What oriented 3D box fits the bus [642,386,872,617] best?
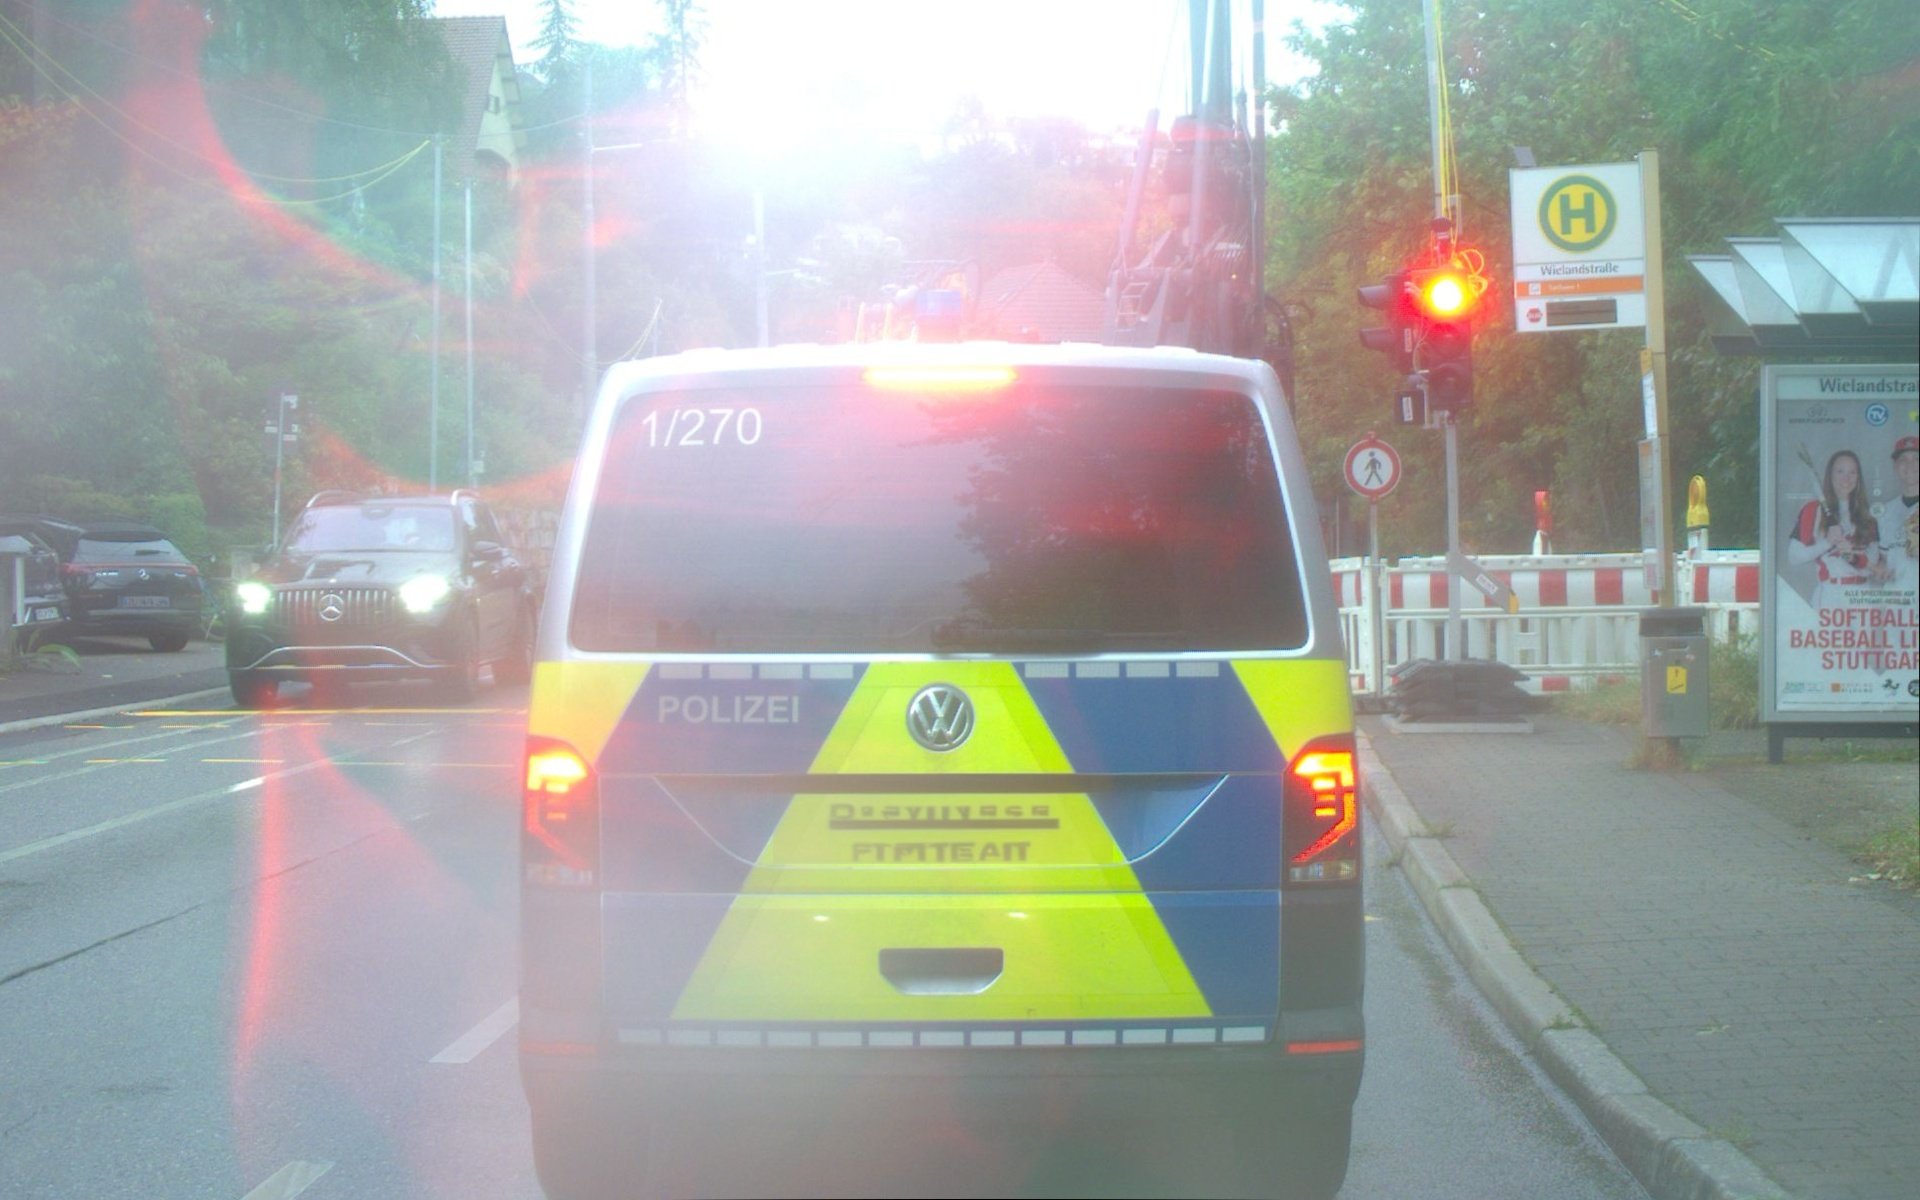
[{"bbox_3d":[-3.446,-1.729,61.678,2.841,3.705,12.005,1,1,3],"label":"bus"}]

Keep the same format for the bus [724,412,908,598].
[{"bbox_3d":[-2.923,-1.993,73.550,2.841,3.612,12.005,1,1,3],"label":"bus"}]

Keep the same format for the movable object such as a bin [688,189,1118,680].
[{"bbox_3d":[-0.420,-1.463,31.624,2.832,4.163,4.378,1,1,15],"label":"movable object such as a bin"}]

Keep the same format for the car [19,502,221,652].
[{"bbox_3d":[-9.323,-0.284,37.968,1.765,1.481,3.743,1,3,-20],"label":"car"}]

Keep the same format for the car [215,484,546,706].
[{"bbox_3d":[-4.901,-0.100,29.723,1.979,1.742,4.553,1,1,1],"label":"car"}]

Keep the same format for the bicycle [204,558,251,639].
[{"bbox_3d":[-8.441,-0.025,39.586,0.462,0.894,1.634,0,1,-15],"label":"bicycle"}]

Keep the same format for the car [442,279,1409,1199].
[{"bbox_3d":[-0.093,0.358,8.825,1.893,2.043,4.000,1,1,-1],"label":"car"}]
